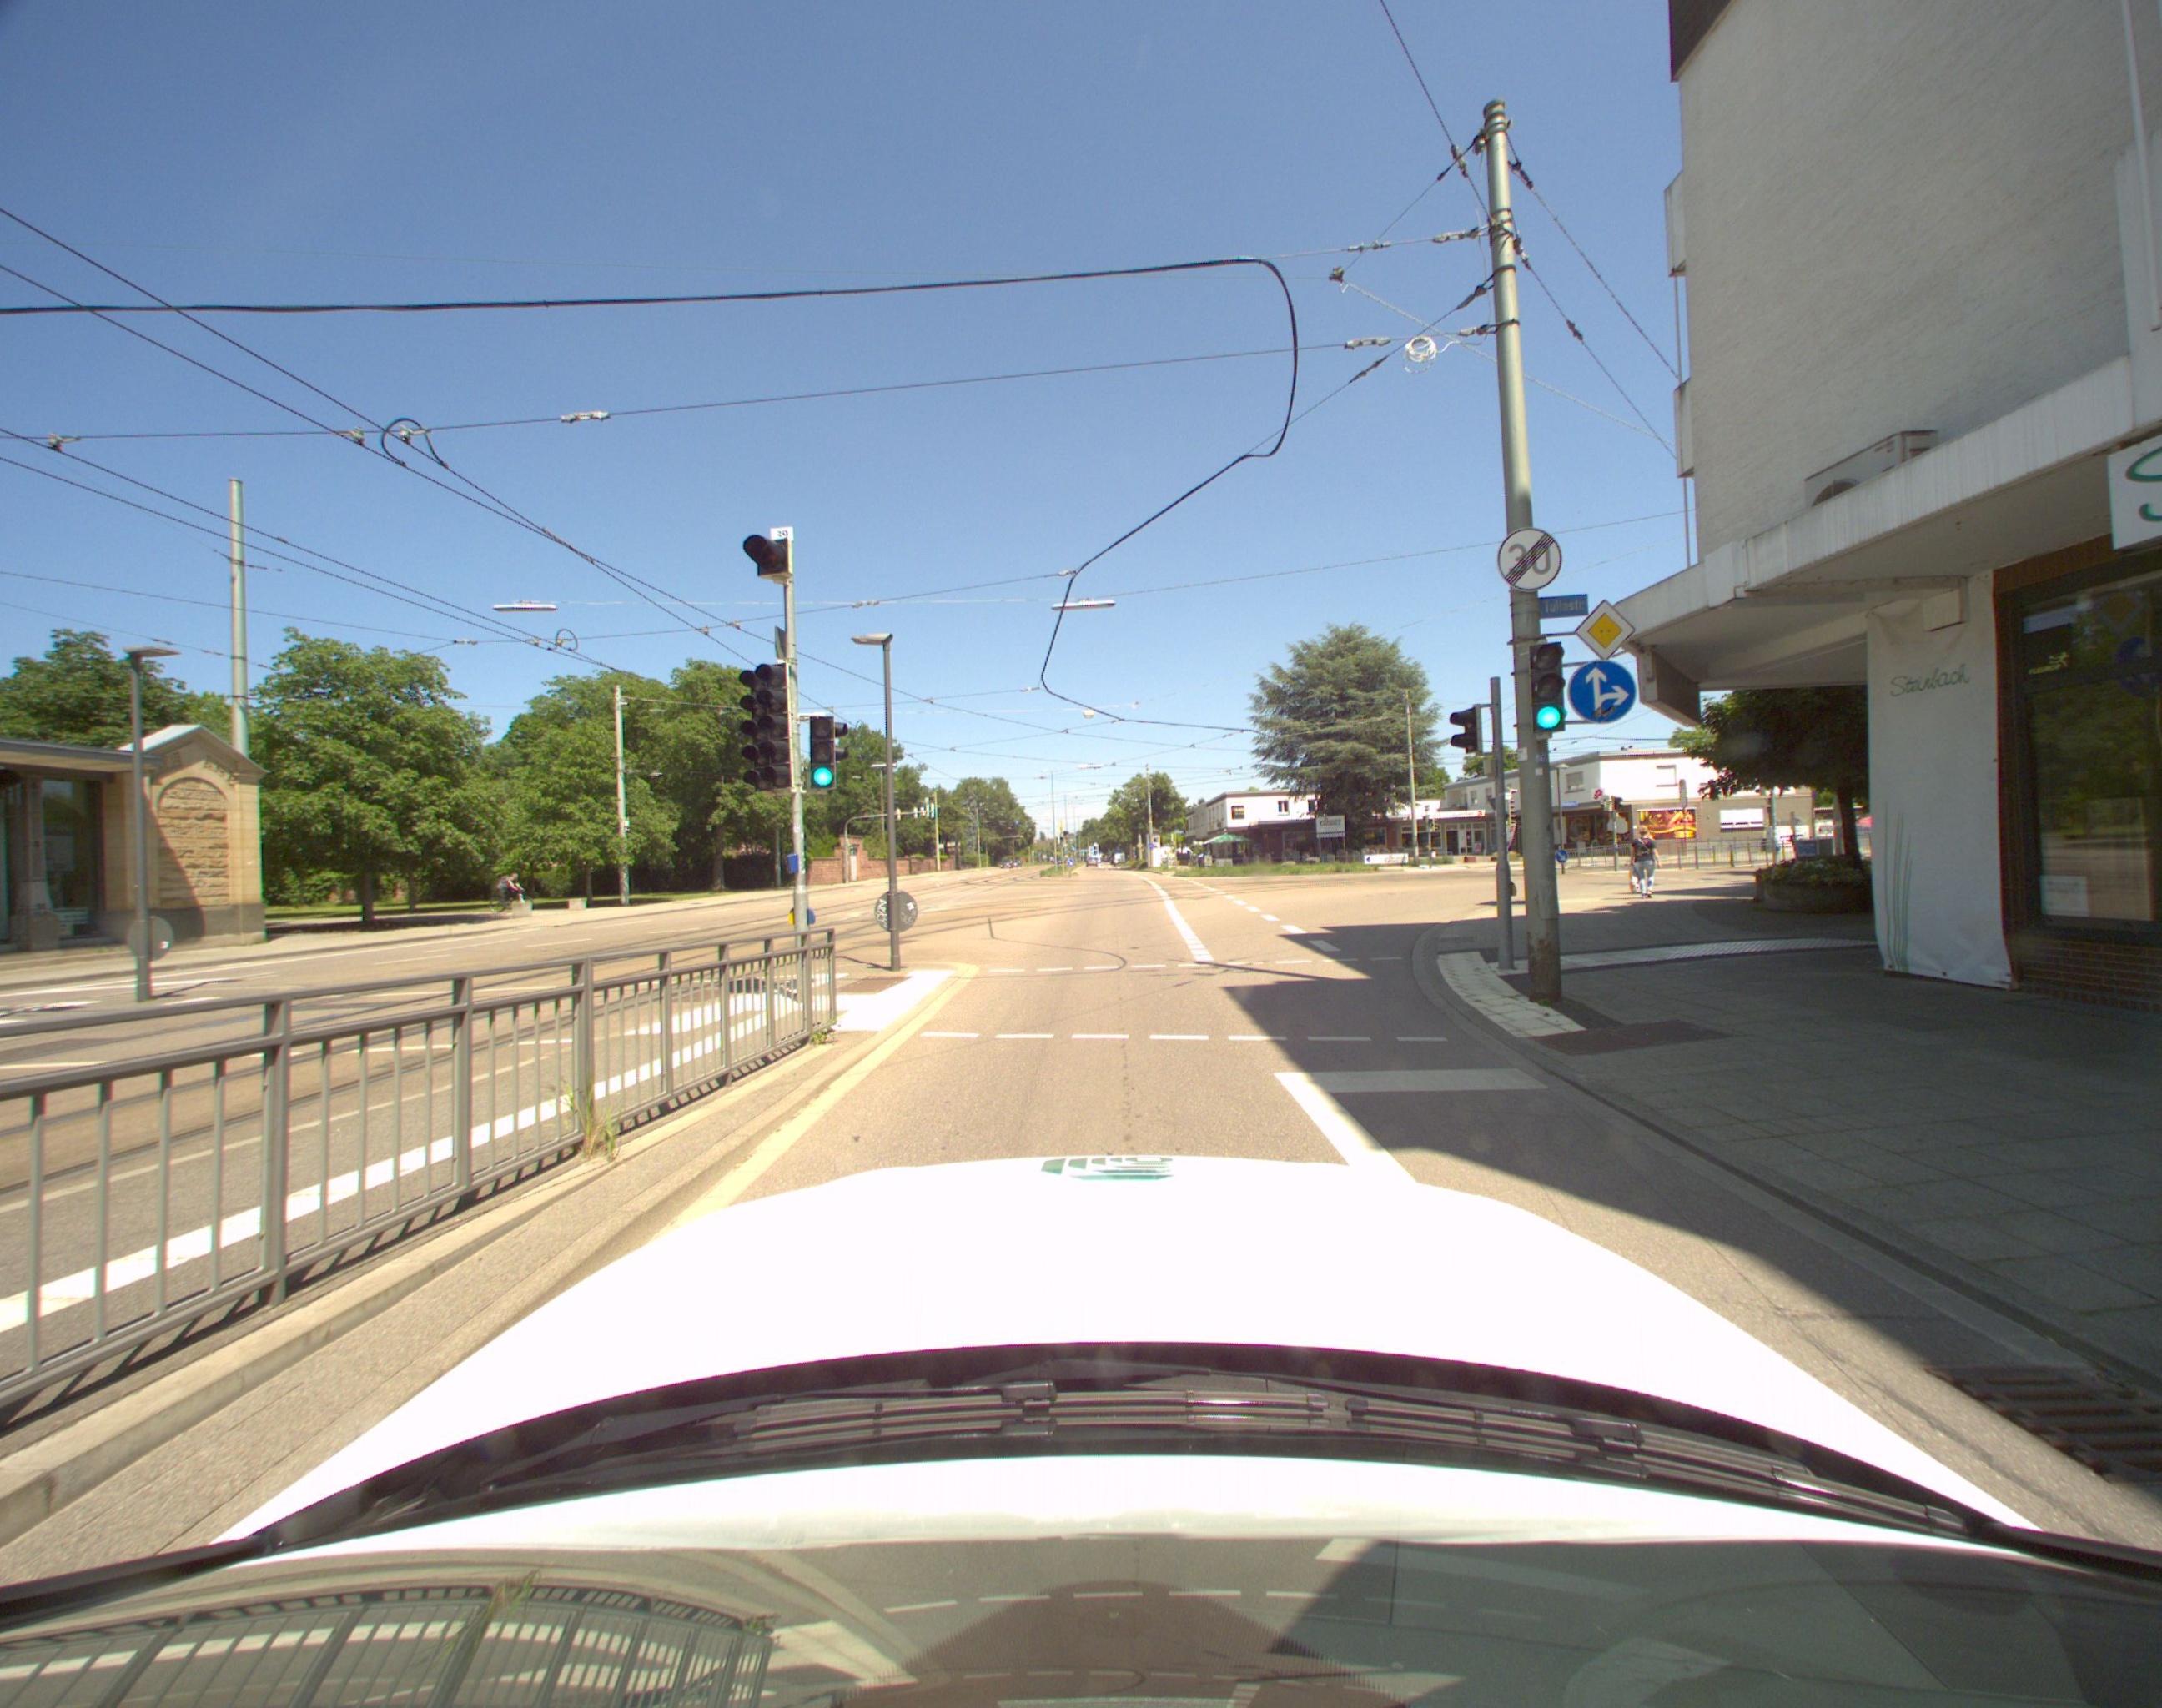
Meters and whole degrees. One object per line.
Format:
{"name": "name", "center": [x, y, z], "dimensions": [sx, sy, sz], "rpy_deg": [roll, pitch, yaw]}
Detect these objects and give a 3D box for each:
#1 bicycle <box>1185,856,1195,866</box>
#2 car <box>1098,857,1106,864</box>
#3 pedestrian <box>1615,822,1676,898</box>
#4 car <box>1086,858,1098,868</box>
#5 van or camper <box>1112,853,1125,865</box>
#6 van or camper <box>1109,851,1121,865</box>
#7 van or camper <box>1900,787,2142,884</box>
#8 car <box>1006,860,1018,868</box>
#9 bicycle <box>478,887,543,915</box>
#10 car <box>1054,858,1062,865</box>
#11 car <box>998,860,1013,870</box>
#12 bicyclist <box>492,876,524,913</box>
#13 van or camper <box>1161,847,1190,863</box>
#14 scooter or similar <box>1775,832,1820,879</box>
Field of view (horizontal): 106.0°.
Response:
{"name": "bicycle", "center": [11.225, 0.714, 83.757], "dimensions": [1.028, 1.014, 2.643], "rpy_deg": [-2, 0, 8]}
{"name": "car", "center": [4.358, 1.279, 170.768], "dimensions": [1.664, 1.435, 3.476], "rpy_deg": [-2, 0, 2]}
{"name": "pedestrian", "center": [12.552, 0.131, 18.131], "dimensions": [0.819, 1.583, 0.831], "rpy_deg": [-6, -1, 22]}
{"name": "car", "center": [1.664, 1.372, 125.664], "dimensions": [1.632, 1.351, 3.839], "rpy_deg": [-5, 0, -1]}
{"name": "van or camper", "center": [6.000, 0.768, 129.858], "dimensions": [1.915, 1.772, 4.002], "rpy_deg": [-2, 0, 2]}
{"name": "van or camper", "center": [6.332, 0.716, 152.340], "dimensions": [1.988, 2.464, 3.998], "rpy_deg": [-2, 0, -1]}
{"name": "van or camper", "center": [29.981, -0.562, 26.116], "dimensions": [5.207, 2.765, 2.208], "rpy_deg": [-2, 0, 0]}
{"name": "car", "center": [-12.910, 1.924, 152.386], "dimensions": [1.634, 1.421, 4.172], "rpy_deg": [-2, 0, 4]}
{"name": "bicycle", "center": [-24.314, 1.980, 34.741], "dimensions": [2.101, 1.041, 0.713], "rpy_deg": [-2, 0, -17]}
{"name": "car", "center": [-5.321, 1.741, 188.888], "dimensions": [1.636, 1.399, 4.116], "rpy_deg": [-2, 0, 0]}
{"name": "car", "center": [-13.216, 1.903, 142.670], "dimensions": [1.813, 1.603, 4.522], "rpy_deg": [-2, -1, 2]}
{"name": "bicyclist", "center": [-24.415, 1.713, 34.710], "dimensions": [0.844, 1.531, 0.848], "rpy_deg": [-2, -1, -16]}
{"name": "van or camper", "center": [16.519, 0.205, 142.676], "dimensions": [4.742, 2.671, 2.135], "rpy_deg": [-2, -1, -1]}
{"name": "scooter or similar", "center": [18.844, 0.035, 21.421], "dimensions": [1.258, 1.213, 0.391], "rpy_deg": [-2, -1, -26]}
